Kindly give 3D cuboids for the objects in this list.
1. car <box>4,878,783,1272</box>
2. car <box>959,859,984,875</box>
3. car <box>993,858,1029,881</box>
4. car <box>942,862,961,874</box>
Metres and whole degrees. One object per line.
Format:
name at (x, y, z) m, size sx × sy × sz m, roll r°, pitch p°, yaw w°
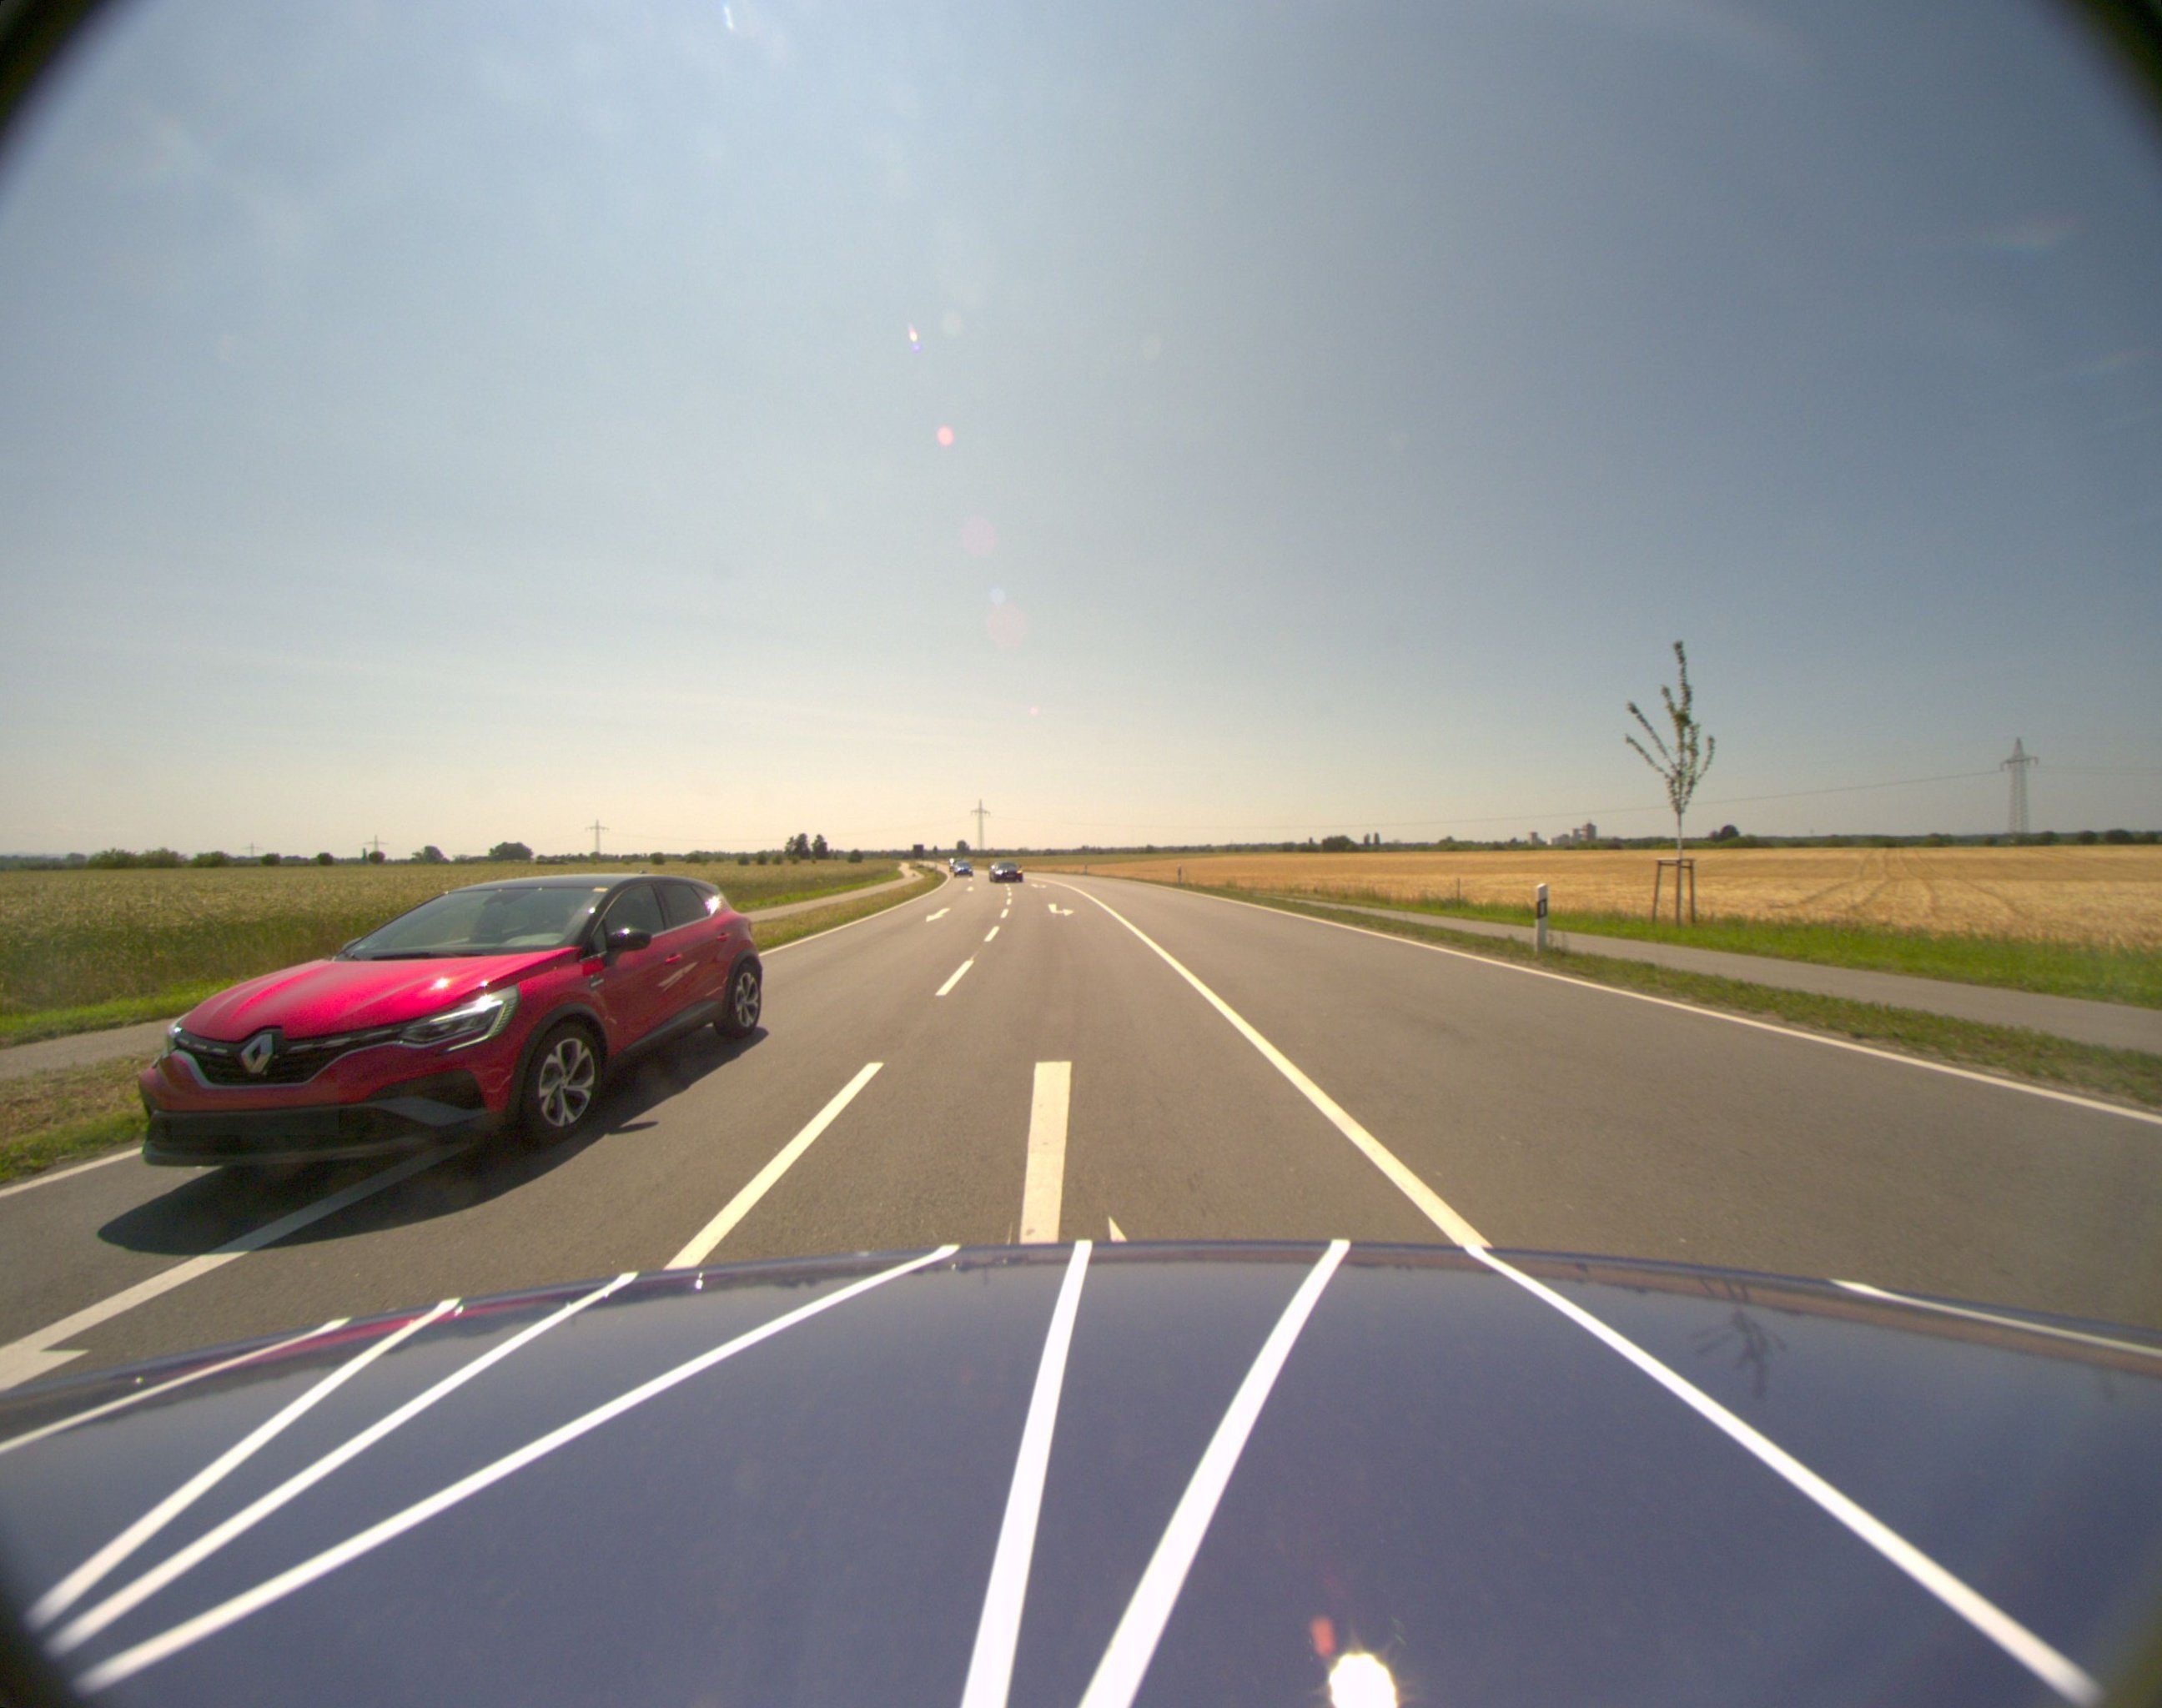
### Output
car at (-3.965, 1.068, 5.673) m, size 1.827 × 1.543 × 4.448 m, roll -2°, pitch 0°, yaw -2°
car at (-10.687, 1.239, 73.937) m, size 2.191 × 1.458 × 5.009 m, roll -2°, pitch 0°, yaw -9°
car at (-4.905, 1.035, 52.727) m, size 2.191 × 1.458 × 5.010 m, roll -2°, pitch 0°, yaw -8°
car at (-17.440, 1.849, 102.522) m, size 2.191 × 1.458 × 5.010 m, roll -2°, pitch 0°, yaw -7°
